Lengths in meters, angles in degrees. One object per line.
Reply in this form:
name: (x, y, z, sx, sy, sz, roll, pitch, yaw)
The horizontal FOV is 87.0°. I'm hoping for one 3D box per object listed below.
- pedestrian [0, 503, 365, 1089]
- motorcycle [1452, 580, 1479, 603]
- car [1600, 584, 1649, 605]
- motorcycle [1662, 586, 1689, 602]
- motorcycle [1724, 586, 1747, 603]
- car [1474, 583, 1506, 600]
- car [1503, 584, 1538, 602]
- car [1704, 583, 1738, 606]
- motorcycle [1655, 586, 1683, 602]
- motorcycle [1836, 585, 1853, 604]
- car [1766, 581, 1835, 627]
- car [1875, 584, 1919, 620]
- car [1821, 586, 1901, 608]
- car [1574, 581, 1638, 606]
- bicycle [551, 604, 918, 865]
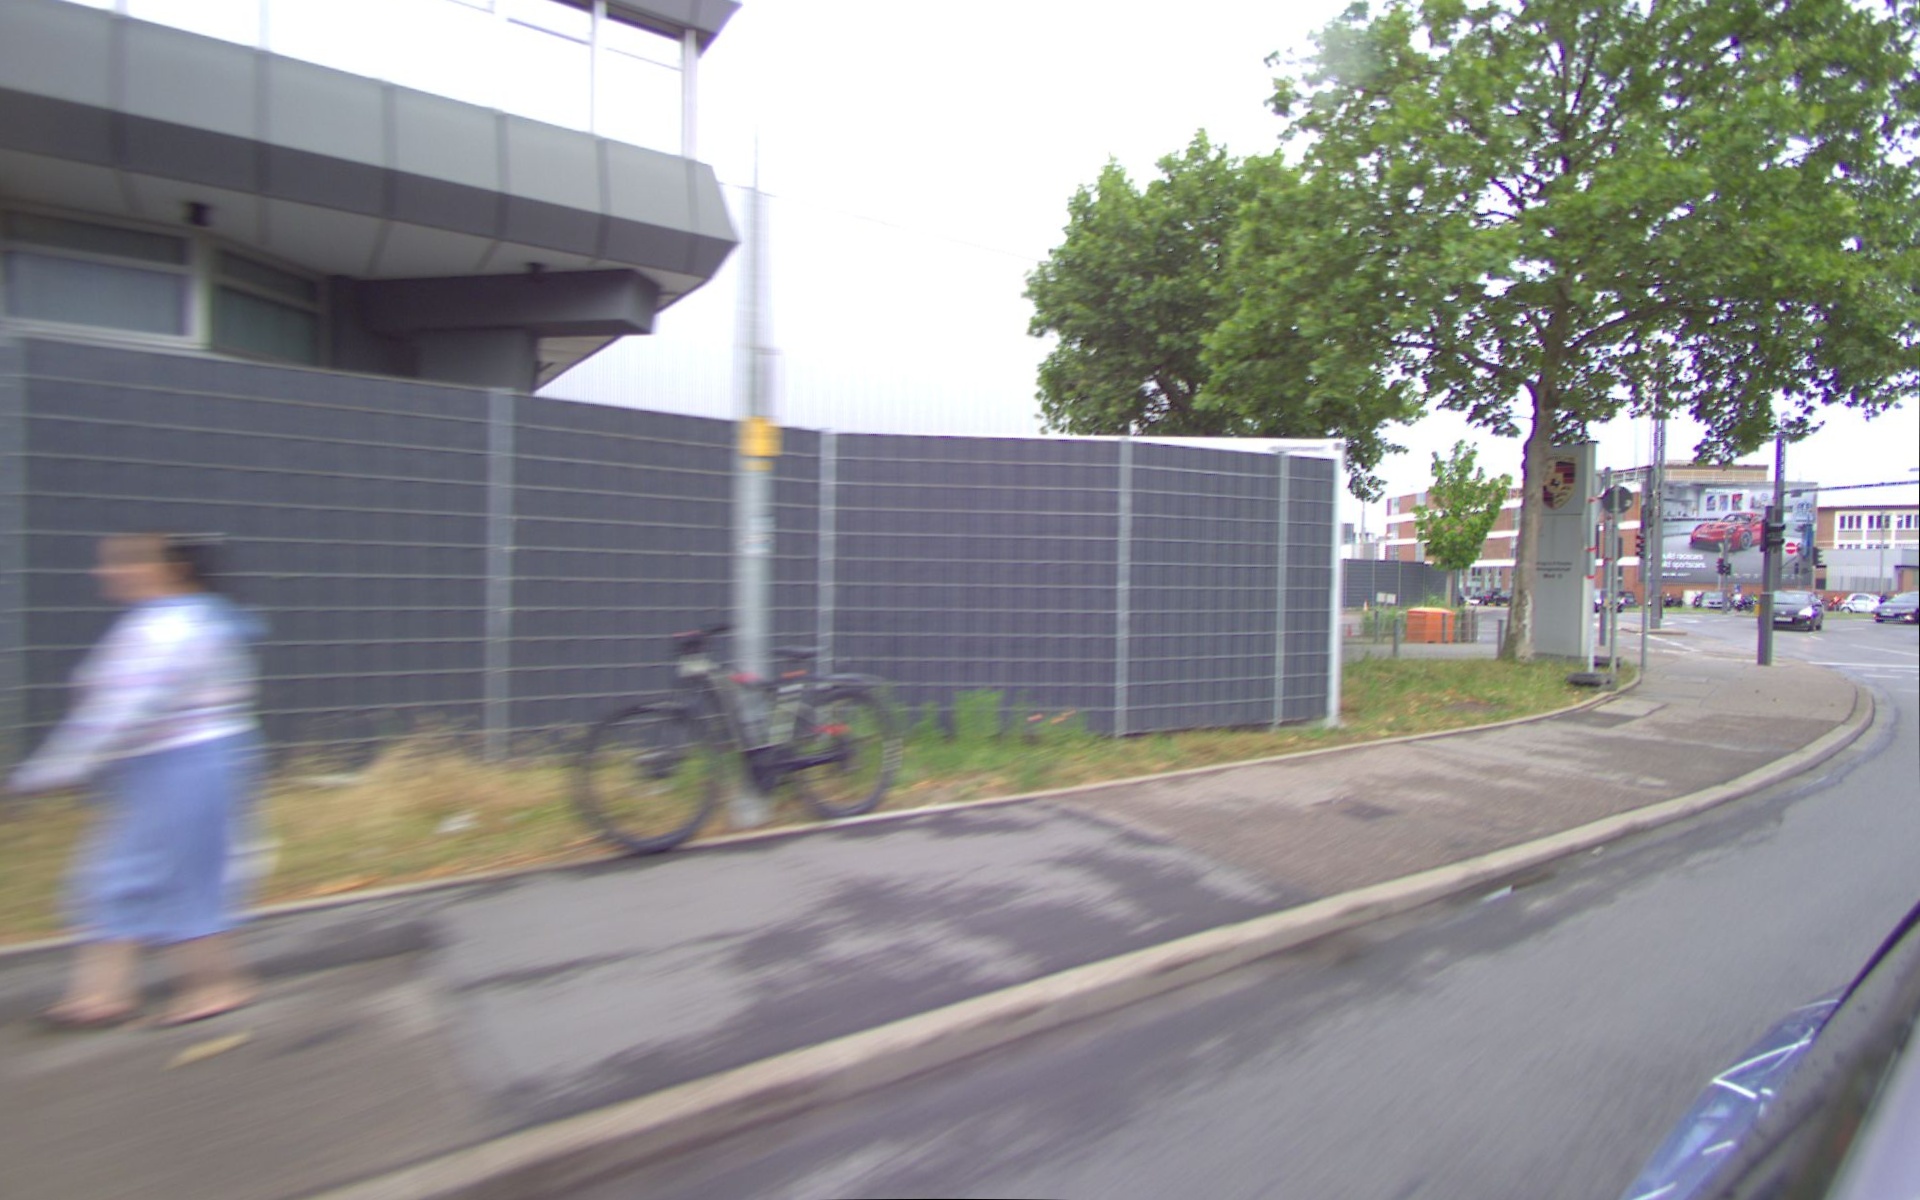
pedestrian: (-2.448, 0.506, 3.072, 0.825, 1.539, 0.835, 1, 1, -4)
motorcycle: (30.066, -0.499, 60.242, 0.644, 1.327, 2.099, 0, 0, 3)
car: (50.130, -0.435, 76.378, 1.521, 1.512, 2.757, 1, 0, -17)
motorcycle: (54.175, -0.430, 76.639, 1.577, 1.134, 0.543, -2, 1, 12)
motorcycle: (57.573, -0.413, 75.164, 0.535, 1.195, 1.710, -2, 1, 7)
car: (50.420, -0.805, 96.340, 1.434, 1.461, 3.385, -2, 1, 6)
car: (50.320, -0.645, 90.867, 1.434, 1.461, 3.461, -2, 1, 6)
car: (53.412, -0.424, 71.043, 1.612, 1.522, 3.211, 0, 1, 32)
motorcycle: (54.327, -0.475, 77.539, 1.622, 1.124, 0.543, -2, 1, 12)
motorcycle: (66.866, -0.425, 76.539, 1.638, 1.350, 0.524, -3, 1, -33)
car: (32.241, 0.124, 38.790, 1.690, 1.526, 3.948, 0, 2, 45)
car: (43.878, 0.041, 45.255, 4.010, 1.492, 1.742, -2, 1, 16)
car: (63.994, -0.261, 71.942, 1.535, 1.508, 4.007, -1, 1, -24)
car: (39.465, -0.440, 61.891, 1.691, 1.443, 3.993, 0, 1, 7)
bicycle: (-1.082, 0.603, 5.275, 1.939, 1.132, 0.342, 0, 2, -42)
